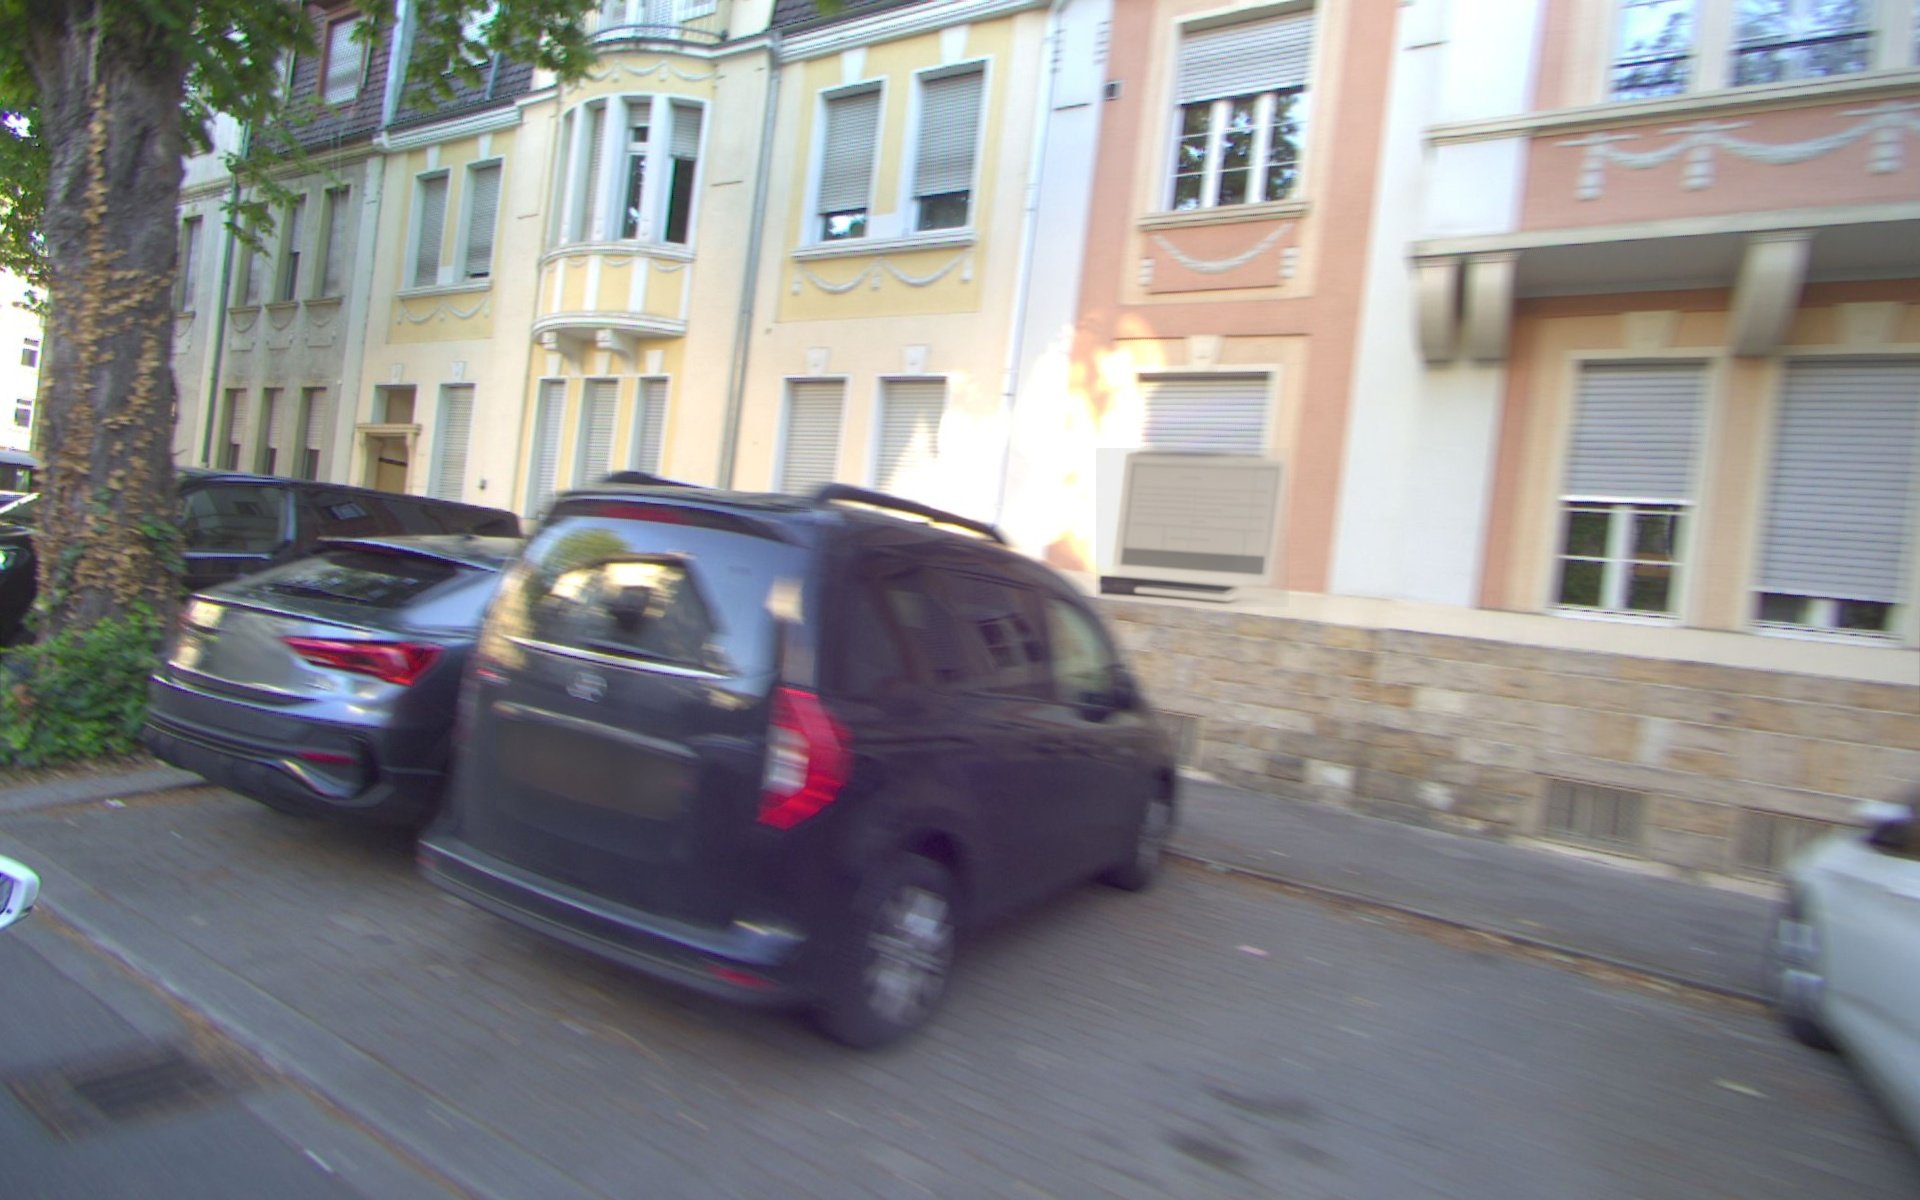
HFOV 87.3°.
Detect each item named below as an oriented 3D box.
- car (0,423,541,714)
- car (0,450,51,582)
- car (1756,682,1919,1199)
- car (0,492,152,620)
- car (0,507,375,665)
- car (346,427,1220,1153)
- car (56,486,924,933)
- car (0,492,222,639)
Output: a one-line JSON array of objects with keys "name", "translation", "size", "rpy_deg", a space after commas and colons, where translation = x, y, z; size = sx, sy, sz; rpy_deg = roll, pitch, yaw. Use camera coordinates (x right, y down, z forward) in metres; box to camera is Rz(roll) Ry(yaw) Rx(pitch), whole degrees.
[{"name": "car", "translation": [-6.287, -0.190, 8.636], "size": [1.864, 1.898, 4.759], "rpy_deg": [7, 0, 27]}, {"name": "car", "translation": [-16.861, -1.534, 15.023], "size": [1.671, 2.061, 4.473], "rpy_deg": [7, 0, 28]}, {"name": "car", "translation": [3.791, 1.165, 2.853], "size": [1.690, 1.597, 3.945], "rpy_deg": [7, 0, 30]}, {"name": "car", "translation": [-12.333, -0.653, 12.041], "size": [1.679, 1.470, 3.730], "rpy_deg": [7, 0, 28]}, {"name": "car", "translation": [-8.397, -0.122, 10.038], "size": [1.601, 1.332, 4.144], "rpy_deg": [7, 0, 27]}, {"name": "car", "translation": [-0.272, 0.541, 4.844], "size": [1.813, 1.860, 4.116], "rpy_deg": [7, 0, 29]}, {"name": "car", "translation": [-2.166, 0.480, 6.098], "size": [1.812, 1.542, 4.518], "rpy_deg": [7, 0, 27]}, {"name": "car", "translation": [-10.622, -0.458, 10.700], "size": [1.693, 1.470, 4.060], "rpy_deg": [7, 0, 28]}]
